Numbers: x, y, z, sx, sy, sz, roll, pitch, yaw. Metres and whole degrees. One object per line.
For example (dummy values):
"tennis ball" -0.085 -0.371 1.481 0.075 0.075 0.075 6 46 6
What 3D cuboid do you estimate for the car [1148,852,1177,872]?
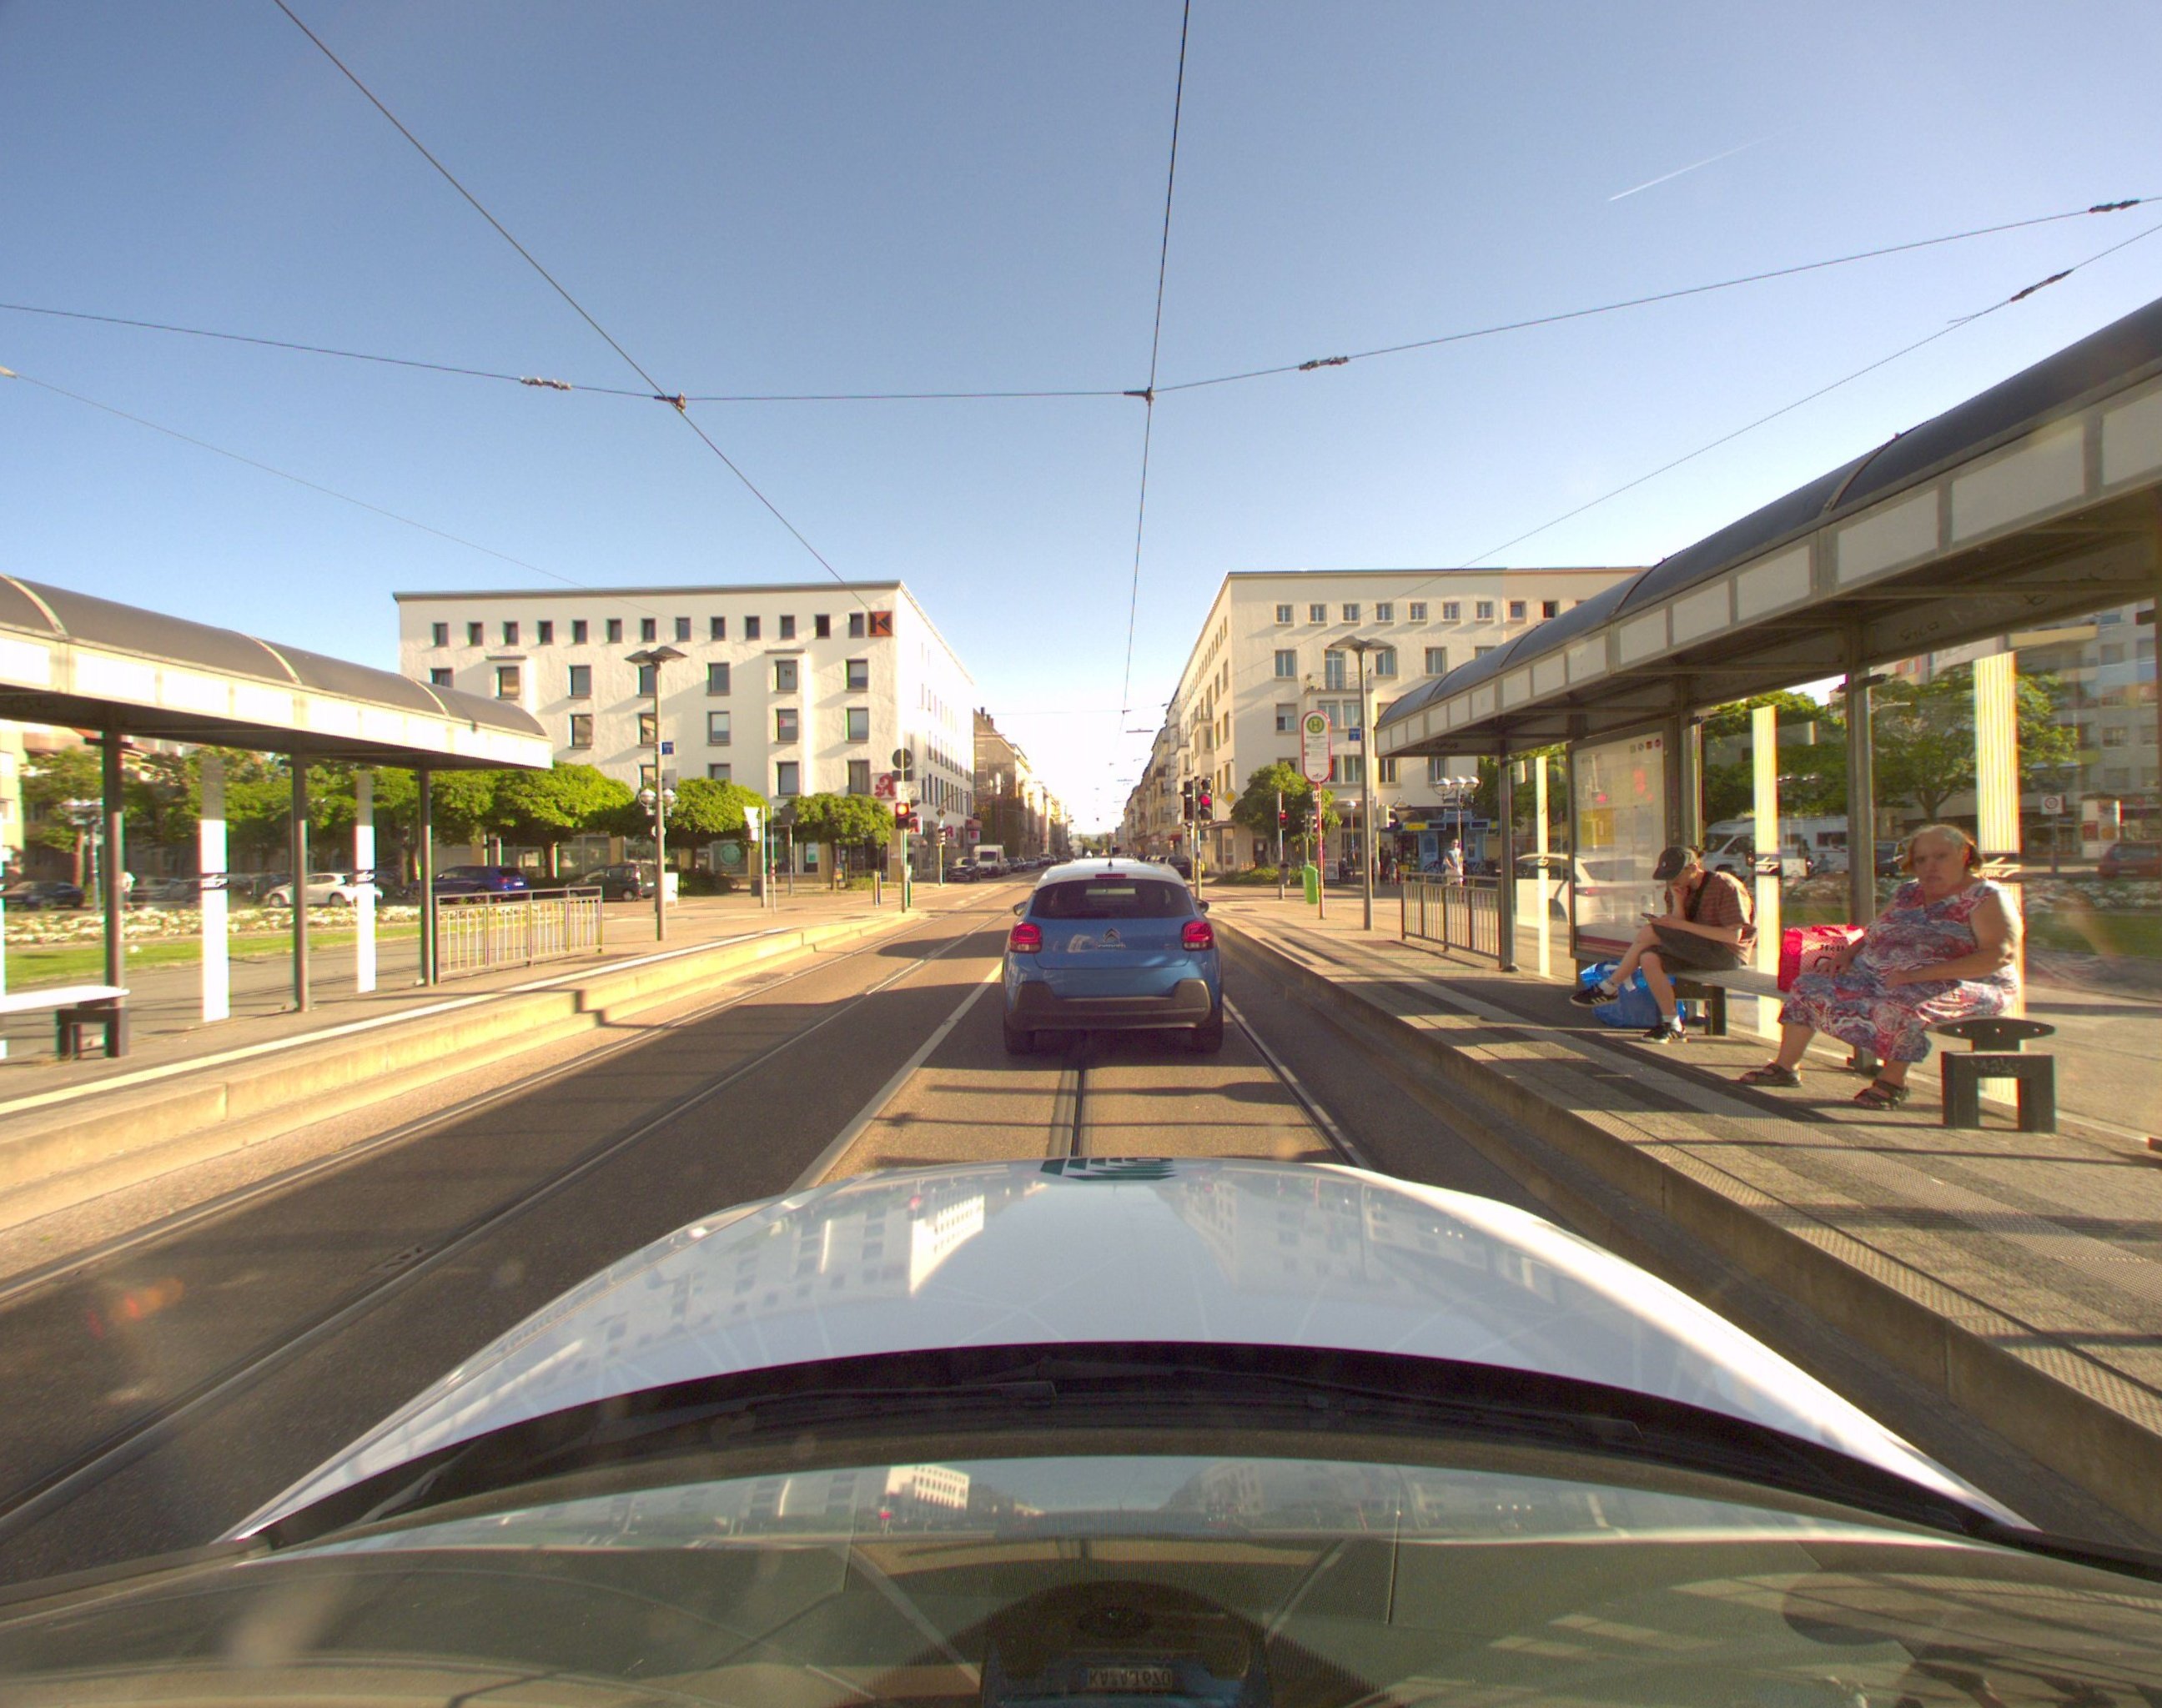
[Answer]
"car" 6.232 0.614 62.945 1.986 1.501 4.002 -1 0 2

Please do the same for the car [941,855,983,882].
"car" -7.654 0.919 52.753 1.987 1.569 4.403 2 -1 1

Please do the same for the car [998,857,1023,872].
"car" -6.754 1.038 78.477 1.987 1.398 4.157 0 -1 1

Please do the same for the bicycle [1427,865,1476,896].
"bicycle" 13.614 0.952 29.904 2.335 1.061 0.712 0 0 -41

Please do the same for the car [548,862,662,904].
"car" -21.244 1.270 36.427 3.973 1.706 1.826 -1 0 1

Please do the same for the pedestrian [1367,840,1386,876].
"pedestrian" 15.290 0.185 42.159 0.781 1.839 0.679 -1 0 5

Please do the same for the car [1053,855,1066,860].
"car" -4.859 0.787 185.204 1.981 1.156 4.528 -1 0 11

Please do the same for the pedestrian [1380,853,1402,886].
"pedestrian" 13.950 0.695 36.611 0.727 1.409 0.755 -1 3 2

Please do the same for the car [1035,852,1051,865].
"car" -5.877 0.718 127.100 1.997 2.014 4.694 0 -1 4

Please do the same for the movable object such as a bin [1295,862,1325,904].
"movable object such as a bin" 4.350 0.546 15.503 0.447 0.786 0.489 -1 0 4

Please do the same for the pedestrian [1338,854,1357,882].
"pedestrian" 12.722 0.648 38.883 0.733 1.316 0.631 -1 0 25

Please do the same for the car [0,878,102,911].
"car" -52.211 2.007 41.143 1.925 1.494 4.314 0 -1 -27

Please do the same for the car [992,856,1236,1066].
"car" 0.290 0.761 7.696 1.721 1.482 3.828 0 0 2

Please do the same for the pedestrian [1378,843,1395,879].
"pedestrian" 15.531 0.352 41.406 0.650 1.839 0.660 -1 0 5

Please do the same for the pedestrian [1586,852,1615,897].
"pedestrian" 13.704 0.548 21.507 0.466 1.169 0.559 0 -1 10

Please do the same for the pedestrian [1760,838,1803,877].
"pedestrian" 23.421 0.109 27.236 0.897 1.279 0.606 -1 0 6

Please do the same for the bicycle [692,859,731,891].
"bicycle" -19.830 1.107 43.744 0.614 1.607 2.625 -1 0 6

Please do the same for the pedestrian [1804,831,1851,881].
"pedestrian" 24.279 0.061 26.491 0.897 1.585 0.663 -1 0 5

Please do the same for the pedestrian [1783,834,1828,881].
"pedestrian" 24.941 0.111 28.043 0.897 1.585 0.663 -1 0 5

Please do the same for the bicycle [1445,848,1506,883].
"bicycle" 17.720 0.521 36.573 2.376 1.531 0.726 1 0 0

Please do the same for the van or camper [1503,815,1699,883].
"van or camper" 22.860 -0.225 36.029 7.093 2.747 2.372 -1 1 2

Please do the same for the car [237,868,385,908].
"car" -33.514 1.465 35.541 4.591 1.606 1.855 -1 0 -1

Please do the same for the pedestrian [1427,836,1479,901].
"pedestrian" 11.125 0.430 24.377 0.978 1.878 1.128 -1 -1 -1

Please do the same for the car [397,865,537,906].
"car" -27.184 1.375 36.168 4.591 1.662 1.999 -1 0 -1

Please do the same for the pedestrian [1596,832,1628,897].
"pedestrian" 14.369 0.277 22.033 0.554 1.745 0.528 0 -1 12

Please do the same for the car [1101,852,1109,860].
"car" 6.080 0.519 205.770 1.986 1.772 4.002 -1 0 2

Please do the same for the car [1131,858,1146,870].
"car" 7.755 1.313 109.739 1.985 1.552 4.003 -1 0 3

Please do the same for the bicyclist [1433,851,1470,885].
"bicyclist" 13.620 0.493 29.954 0.938 1.225 0.943 1 0 -40

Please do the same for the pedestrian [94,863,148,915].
"pedestrian" -34.353 1.234 29.149 0.938 1.817 0.872 -1 -1 13

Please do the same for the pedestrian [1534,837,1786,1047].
"pedestrian" 3.721 0.530 5.333 0.995 1.225 0.923 2 -1 1

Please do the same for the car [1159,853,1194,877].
"car" 6.132 0.682 52.484 1.902 1.464 4.002 -1 0 2

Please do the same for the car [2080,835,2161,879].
"car" 38.637 0.065 29.052 3.983 1.486 1.995 -1 0 -7

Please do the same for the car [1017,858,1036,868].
"car" -6.902 1.154 103.554 1.987 1.325 3.923 0 -1 1

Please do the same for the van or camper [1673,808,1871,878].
"van or camper" 30.123 -0.465 35.704 6.375 2.839 2.381 -1 0 5

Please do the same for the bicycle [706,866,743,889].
"bicycle" -19.107 1.246 43.702 0.615 1.190 2.624 -1 0 5

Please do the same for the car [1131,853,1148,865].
"car" 7.299 0.637 102.028 1.986 1.464 4.507 -1 0 2

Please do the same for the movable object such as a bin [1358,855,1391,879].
"movable object such as a bin" 14.438 0.614 40.046 1.194 1.153 1.218 -1 0 2

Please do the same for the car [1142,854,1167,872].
"car" 6.560 0.794 72.903 1.986 1.464 4.002 -1 0 2

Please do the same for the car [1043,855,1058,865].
"car" -5.106 1.010 136.973 1.946 1.552 3.942 0 -1 4

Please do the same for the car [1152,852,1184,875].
"car" 6.076 0.646 57.279 1.986 1.464 4.002 -1 0 2

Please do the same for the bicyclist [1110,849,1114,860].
"bicyclist" 6.259 0.106 164.456 0.806 2.014 0.923 0 -1 2

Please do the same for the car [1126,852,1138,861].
"car" 8.327 0.454 133.199 1.986 1.464 4.002 -1 0 2

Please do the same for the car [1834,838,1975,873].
"car" 36.667 0.069 36.383 3.959 1.511 2.007 0 -1 13

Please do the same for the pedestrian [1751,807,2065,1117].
"pedestrian" 3.902 0.476 3.899 0.855 1.334 0.623 2 -1 1

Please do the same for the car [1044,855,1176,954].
"car" 0.504 0.758 14.571 1.977 1.464 4.817 0 0 2

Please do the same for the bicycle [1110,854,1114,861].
"bicycle" 6.277 0.684 164.723 0.916 1.389 3.133 -1 0 2

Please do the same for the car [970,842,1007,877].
"car" -7.120 0.421 63.192 2.078 2.542 6.206 0 0 1

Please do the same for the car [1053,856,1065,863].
"car" -4.117 1.061 154.560 1.986 1.156 4.002 -1 0 2

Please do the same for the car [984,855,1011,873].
"car" -7.108 0.879 69.802 1.881 1.496 3.562 0 -1 1

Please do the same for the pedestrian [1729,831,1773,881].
"pedestrian" 22.905 0.072 27.868 0.897 1.685 0.696 -1 0 5
